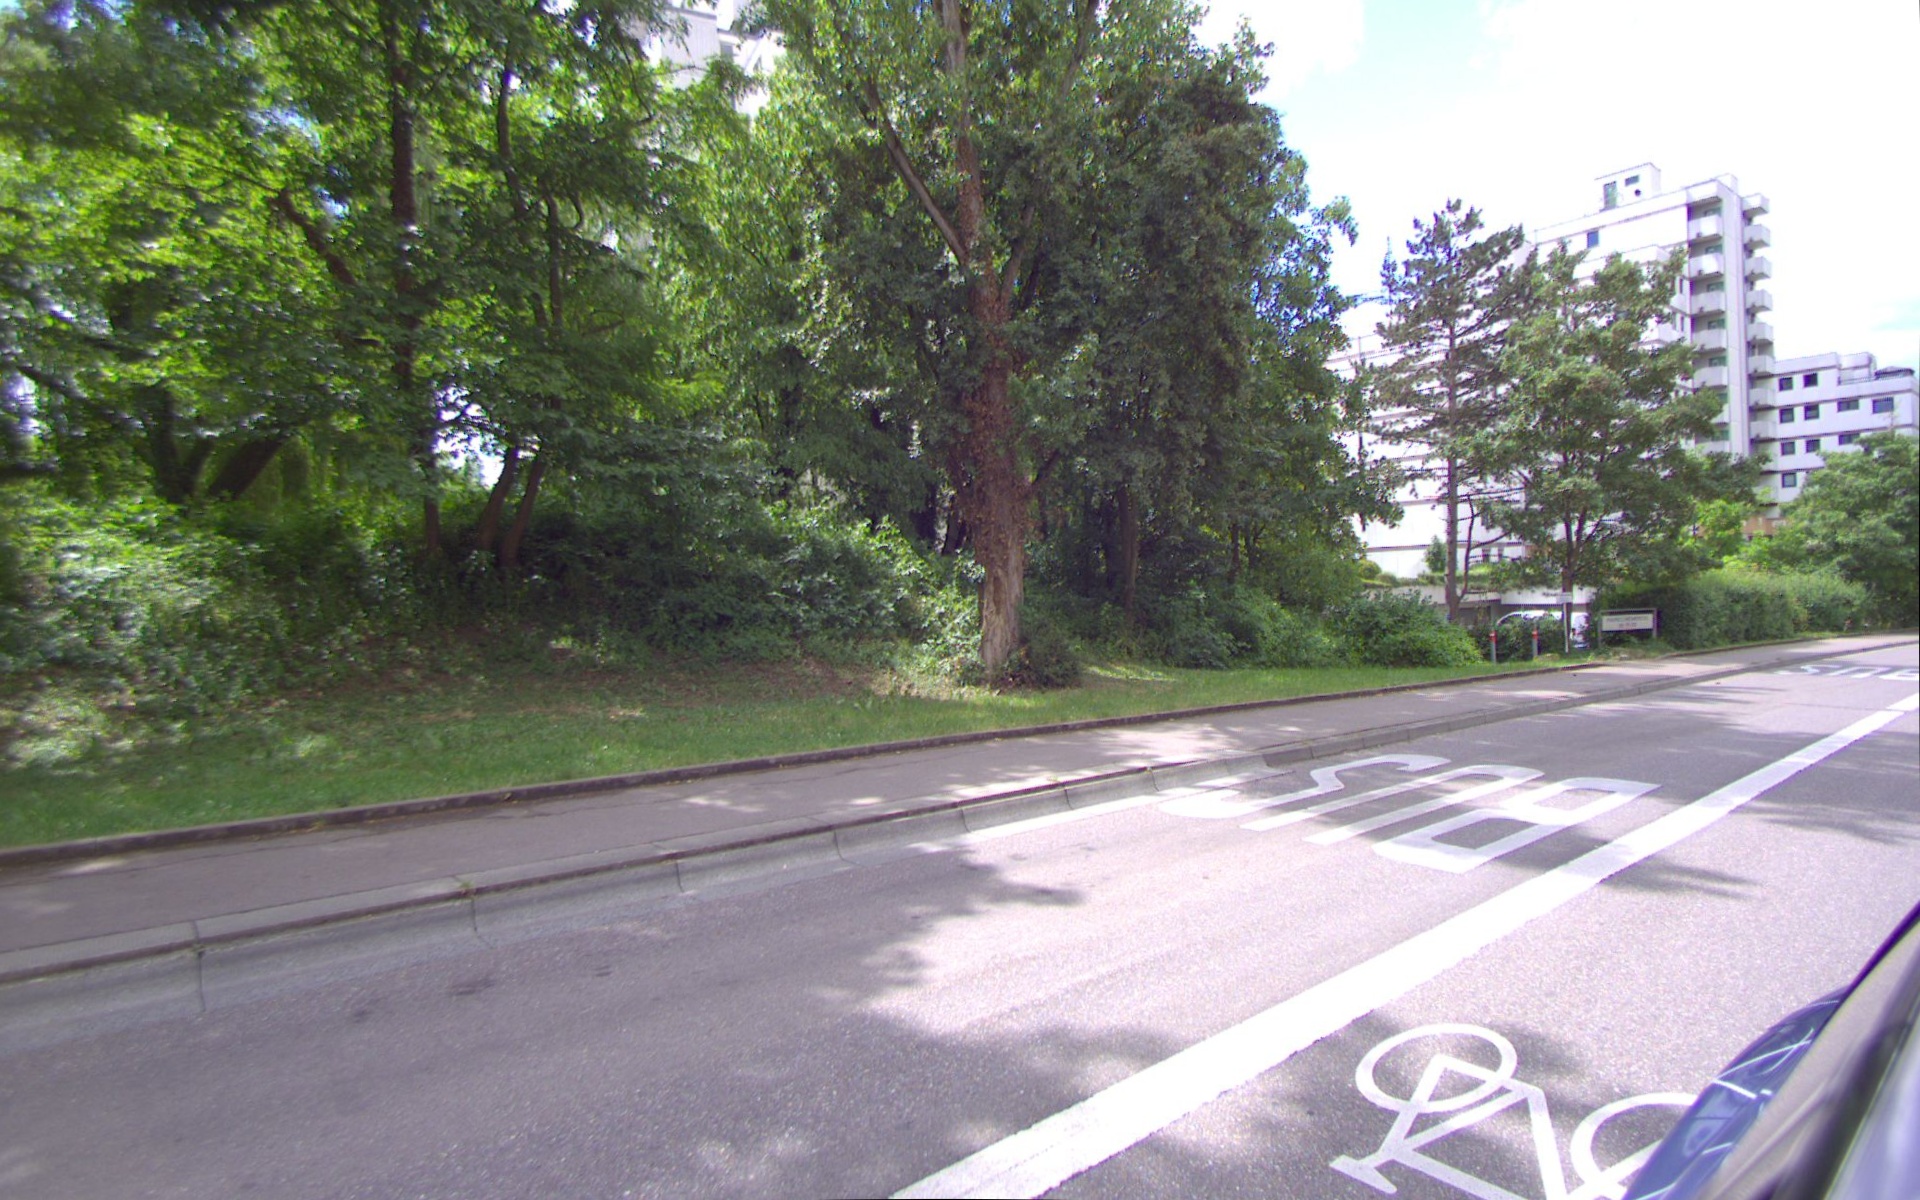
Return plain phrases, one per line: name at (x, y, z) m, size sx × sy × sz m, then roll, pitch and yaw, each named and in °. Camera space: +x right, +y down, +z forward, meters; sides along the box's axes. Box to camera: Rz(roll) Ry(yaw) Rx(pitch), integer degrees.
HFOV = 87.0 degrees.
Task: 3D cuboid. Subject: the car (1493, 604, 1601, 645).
car at (31.040, 1.232, 53.636) m, size 1.962 × 2.039 × 4.549 m, roll -1°, pitch 0°, yaw -34°
